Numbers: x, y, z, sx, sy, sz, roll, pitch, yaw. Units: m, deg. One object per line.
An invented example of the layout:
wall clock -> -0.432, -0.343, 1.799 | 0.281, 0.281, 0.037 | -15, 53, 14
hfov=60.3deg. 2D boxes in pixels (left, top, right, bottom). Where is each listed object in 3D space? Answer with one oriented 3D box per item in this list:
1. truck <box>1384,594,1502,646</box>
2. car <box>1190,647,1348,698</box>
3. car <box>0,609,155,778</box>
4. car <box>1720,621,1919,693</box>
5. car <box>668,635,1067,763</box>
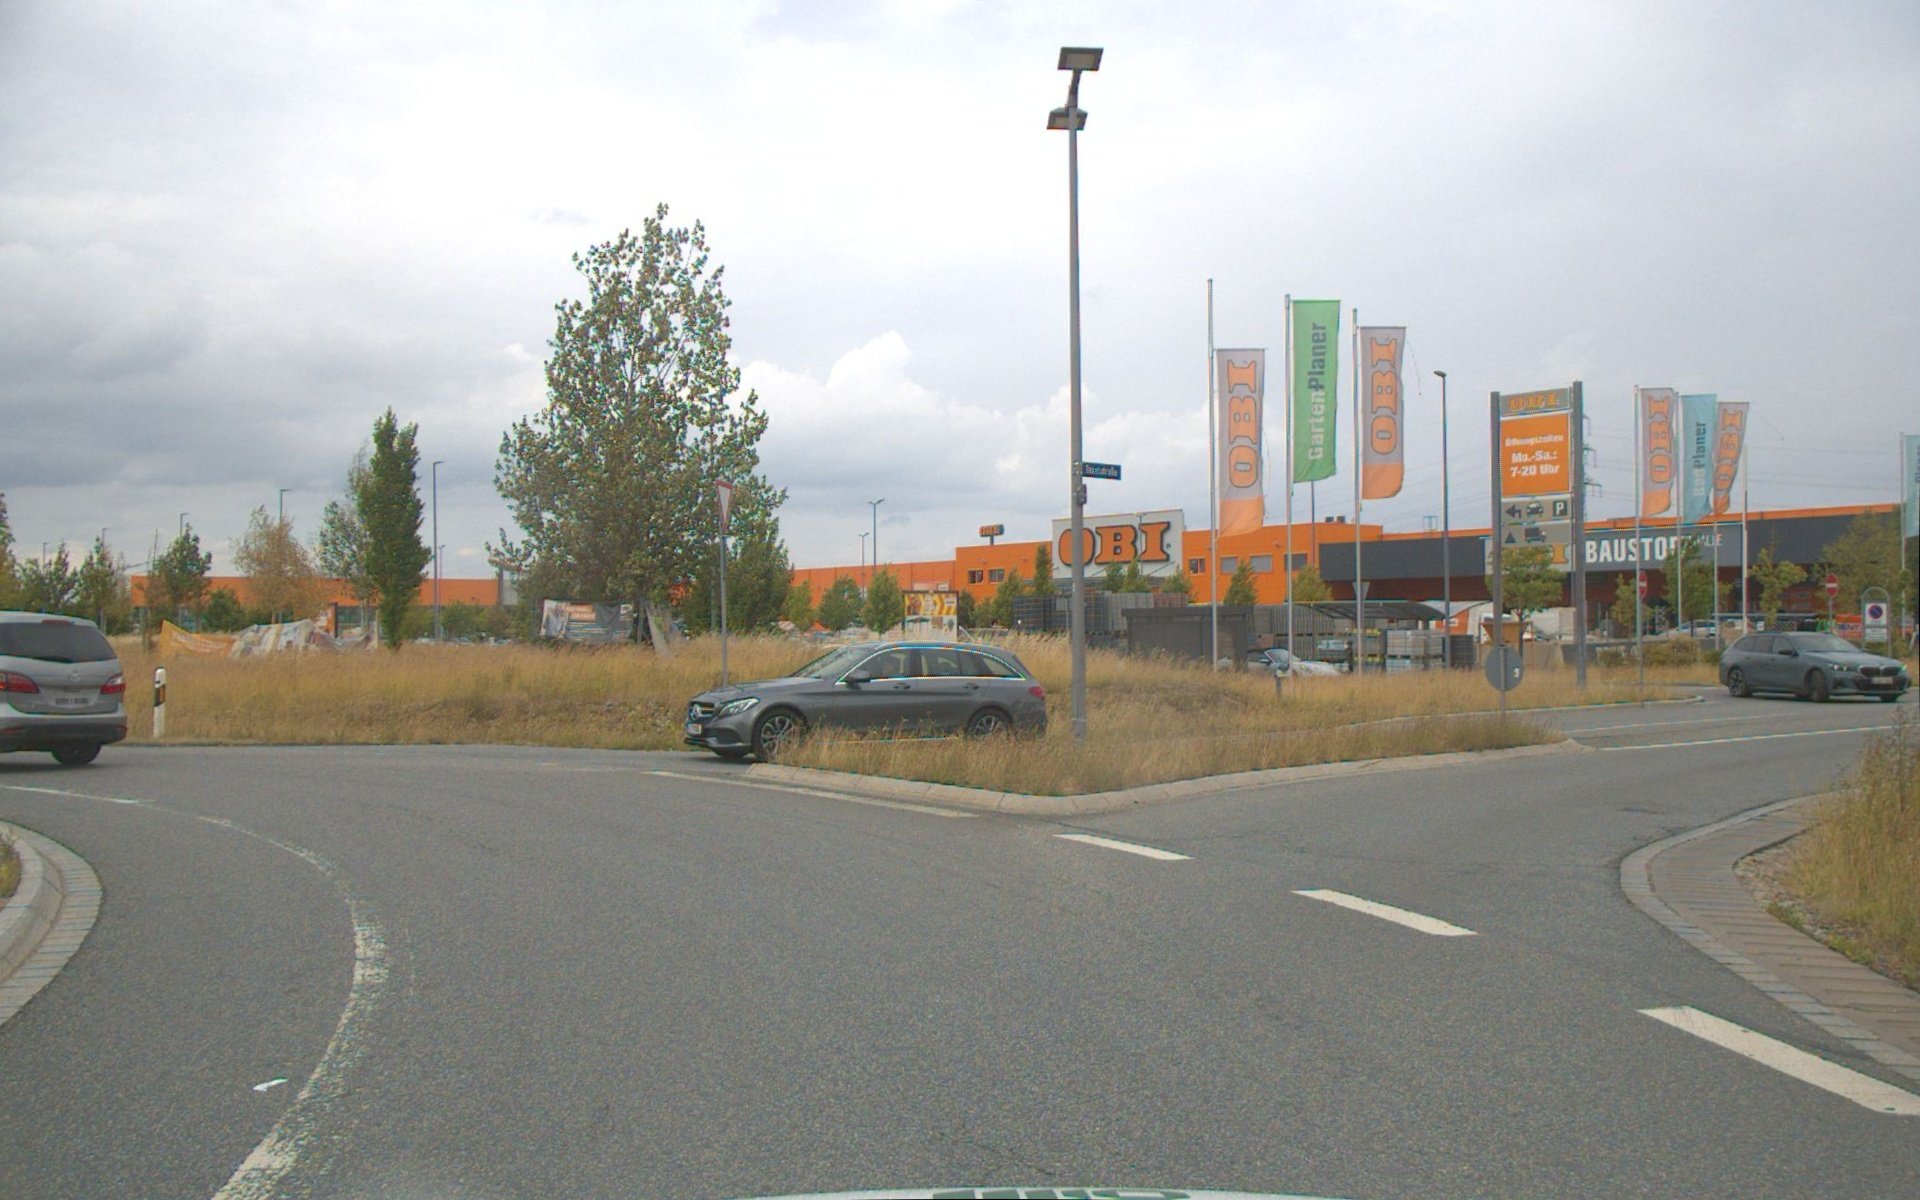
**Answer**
truck -> 25.219, 1.084, 86.486 | 2.422, 2.528, 5.458 | 3, -4, -45
car -> 9.459, 2.196, 50.908 | 1.730, 1.428, 4.682 | 2, -2, -43
car -> -10.677, 0.928, 17.454 | 3.903, 1.627, 1.743 | 0, -2, 22
car -> 19.345, 1.325, 37.285 | 1.954, 1.534, 4.676 | 0, -3, -5
car -> -1.104, 1.191, 20.598 | 4.623, 1.428, 1.909 | 2, -2, -30
